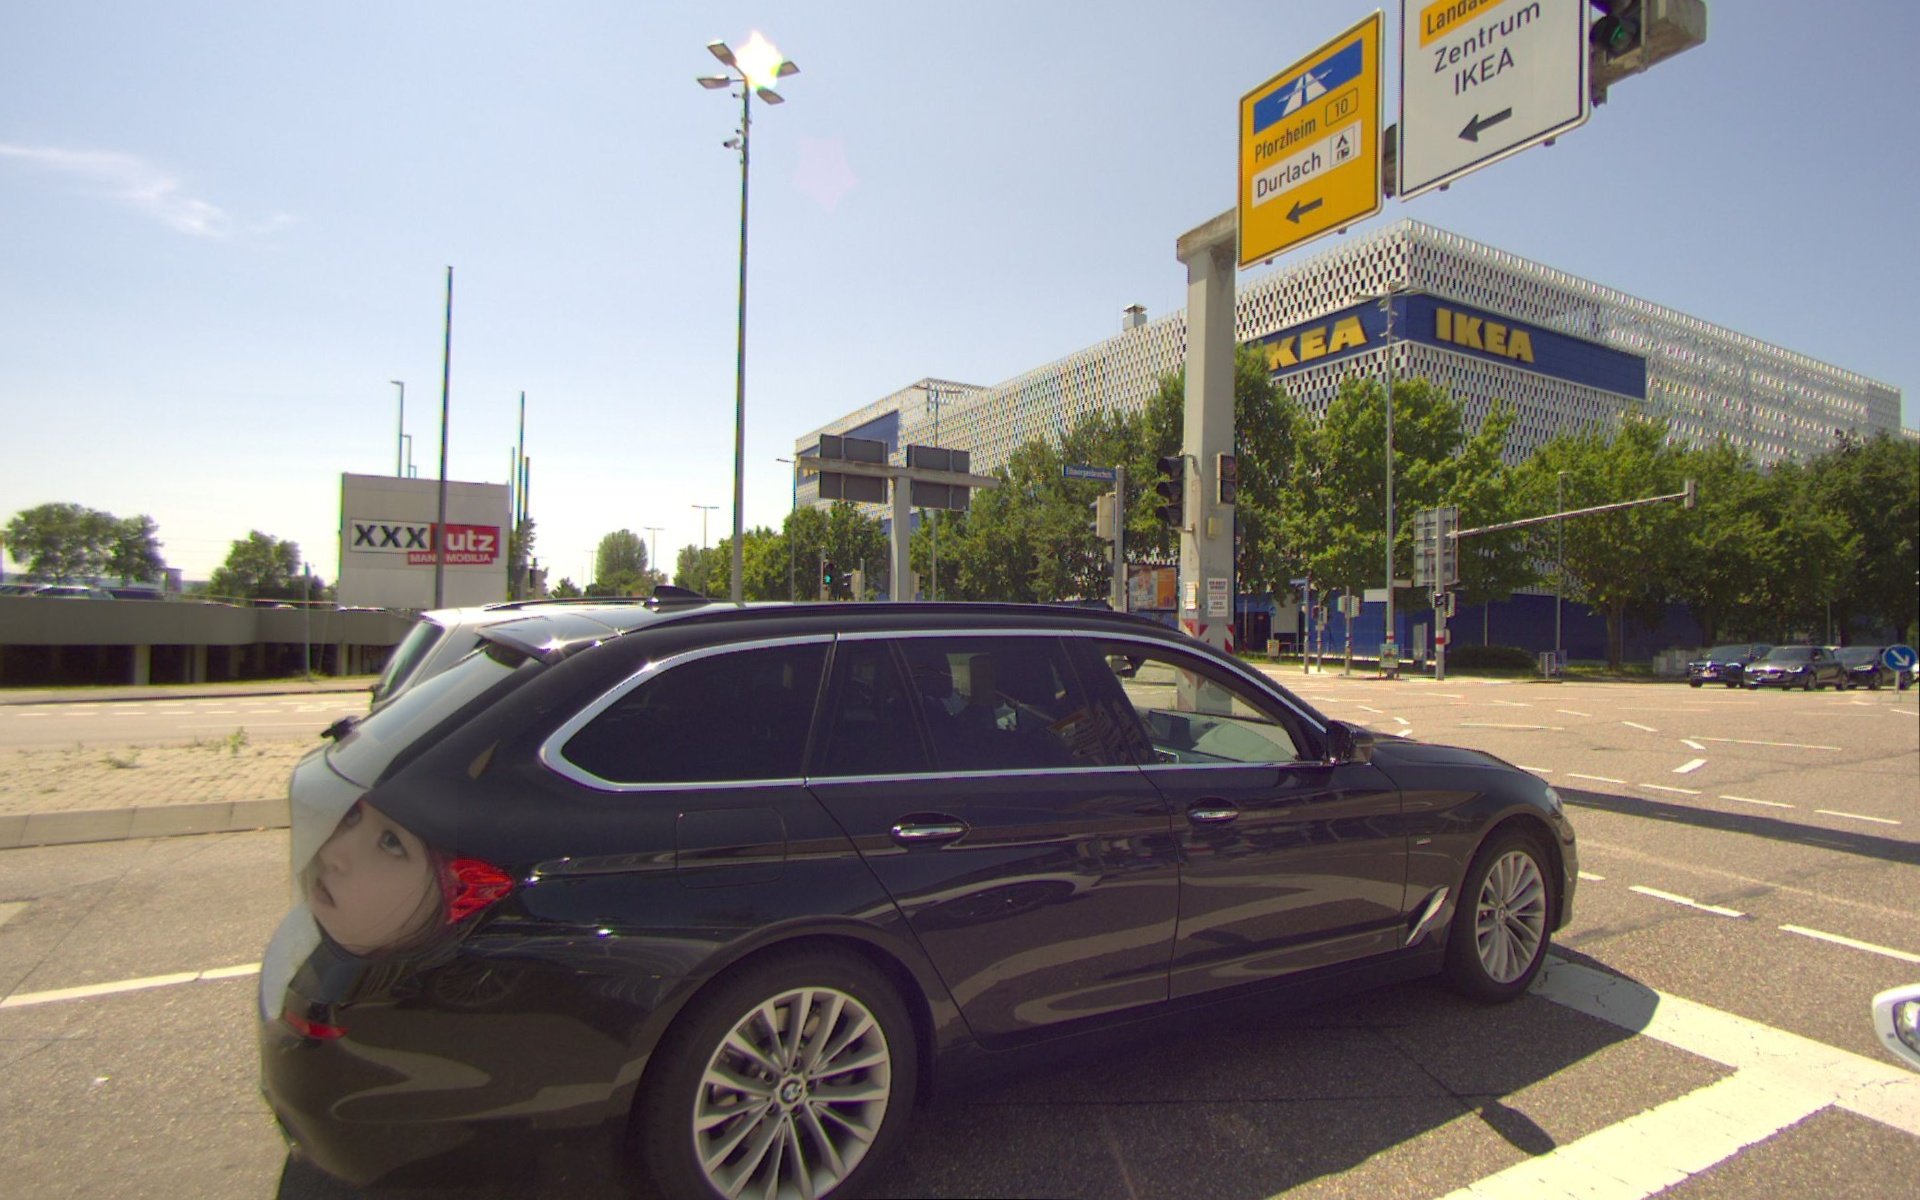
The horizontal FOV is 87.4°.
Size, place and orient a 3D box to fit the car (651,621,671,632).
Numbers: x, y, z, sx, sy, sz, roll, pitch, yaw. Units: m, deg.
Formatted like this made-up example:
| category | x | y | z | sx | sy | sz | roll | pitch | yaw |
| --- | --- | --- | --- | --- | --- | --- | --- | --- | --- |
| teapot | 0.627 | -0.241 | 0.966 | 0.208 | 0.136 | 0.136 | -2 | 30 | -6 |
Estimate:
| category | x | y | z | sx | sy | sz | roll | pitch | yaw |
| --- | --- | --- | --- | --- | --- | --- | --- | --- | --- |
| car | -43.011 | 3.818 | 144.416 | 1.976 | 1.572 | 3.970 | 2 | -2 | -29 |

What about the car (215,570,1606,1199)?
| category | x | y | z | sx | sy | sz | roll | pitch | yaw |
| --- | --- | --- | --- | --- | --- | --- | --- | --- | --- |
| car | 0.224 | 0.748 | 3.636 | 4.505 | 1.459 | 1.788 | 2 | -1 | -31 |

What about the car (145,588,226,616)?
| category | x | y | z | sx | sy | sz | roll | pitch | yaw |
| --- | --- | --- | --- | --- | --- | --- | --- | --- | --- |
| car | -52.784 | 0.143 | 68.514 | 4.086 | 1.764 | 1.770 | 2 | -2 | -30 |

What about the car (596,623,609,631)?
| category | x | y | z | sx | sy | sz | roll | pitch | yaw |
| --- | --- | --- | --- | --- | --- | --- | --- | --- | --- |
| car | -60.574 | 4.554 | 170.265 | 1.608 | 1.368 | 3.472 | 2 | -2 | -29 |

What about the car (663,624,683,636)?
| category | x | y | z | sx | sy | sz | roll | pitch | yaw |
| --- | --- | --- | --- | --- | --- | --- | --- | --- | --- |
| car | -43.463 | 4.577 | 152.058 | 2.031 | 1.769 | 3.860 | 2 | -2 | -29 |

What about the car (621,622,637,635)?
| category | x | y | z | sx | sy | sz | roll | pitch | yaw |
| --- | --- | --- | --- | --- | --- | --- | --- | --- | --- |
| car | -49.237 | 4.225 | 149.252 | 1.609 | 1.938 | 3.471 | 2 | -2 | -30 |

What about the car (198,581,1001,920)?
| category | x | y | z | sx | sy | sz | roll | pitch | yaw |
| --- | --- | --- | --- | --- | --- | --- | --- | --- | --- |
| car | -1.884 | 0.669 | 5.967 | 3.959 | 1.441 | 1.685 | 1 | 0 | -29 |

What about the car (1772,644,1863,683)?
| category | x | y | z | sx | sy | sz | roll | pitch | yaw |
| --- | --- | --- | --- | --- | --- | --- | --- | --- | --- |
| car | 35.647 | 2.646 | 41.741 | 3.870 | 1.564 | 1.718 | 3 | -3 | -31 |

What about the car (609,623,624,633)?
| category | x | y | z | sx | sy | sz | roll | pitch | yaw |
| --- | --- | --- | --- | --- | --- | --- | --- | --- | --- |
| car | -55.365 | 4.550 | 161.765 | 1.608 | 1.629 | 3.471 | 2 | -2 | -29 |

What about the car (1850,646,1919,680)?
| category | x | y | z | sx | sy | sz | roll | pitch | yaw |
| --- | --- | --- | --- | --- | --- | --- | --- | --- | --- |
| car | 42.462 | 2.873 | 45.871 | 3.870 | 1.505 | 1.642 | 3 | -3 | -31 |

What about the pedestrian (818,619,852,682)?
| category | x | y | z | sx | sy | sz | roll | pitch | yaw |
| --- | --- | --- | --- | --- | --- | --- | --- | --- | --- |
| pedestrian | -3.639 | 1.457 | 29.195 | 0.816 | 1.807 | 0.601 | 2 | -2 | -27 |

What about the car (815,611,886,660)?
| category | x | y | z | sx | sy | sz | roll | pitch | yaw |
| --- | --- | --- | --- | --- | --- | --- | --- | --- | --- |
| car | -5.365 | 1.704 | 48.647 | 1.973 | 2.212 | 5.019 | 1 | -2 | -25 |

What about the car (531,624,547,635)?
| category | x | y | z | sx | sy | sz | roll | pitch | yaw |
| --- | --- | --- | --- | --- | --- | --- | --- | --- | --- |
| car | -60.117 | 4.153 | 143.401 | 1.836 | 1.528 | 3.971 | 2 | -2 | -28 |

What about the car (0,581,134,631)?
| category | x | y | z | sx | sy | sz | roll | pitch | yaw |
| --- | --- | --- | --- | --- | --- | --- | --- | --- | --- |
| car | -39.336 | 0.296 | 44.230 | 4.284 | 2.040 | 1.982 | 2 | -2 | -34 |

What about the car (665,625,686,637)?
| category | x | y | z | sx | sy | sz | roll | pitch | yaw |
| --- | --- | --- | --- | --- | --- | --- | --- | --- | --- |
| car | -38.891 | 4.278 | 137.437 | 1.975 | 1.572 | 3.972 | 2 | -2 | -27 |

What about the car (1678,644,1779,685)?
| category | x | y | z | sx | sy | sz | roll | pitch | yaw |
| --- | --- | --- | --- | --- | --- | --- | --- | --- | --- |
| car | 28.690 | 2.419 | 37.480 | 3.992 | 1.442 | 1.653 | 3 | -3 | -31 |

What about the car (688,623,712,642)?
| category | x | y | z | sx | sy | sz | roll | pitch | yaw |
| --- | --- | --- | --- | --- | --- | --- | --- | --- | --- |
| car | -28.246 | 3.511 | 109.120 | 1.750 | 2.040 | 3.813 | 1 | -2 | -26 |

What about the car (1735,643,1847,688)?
| category | x | y | z | sx | sy | sz | roll | pitch | yaw |
| --- | --- | --- | --- | --- | --- | --- | --- | --- | --- |
| car | 27.243 | 2.168 | 32.919 | 3.671 | 1.407 | 1.637 | 3 | -4 | -30 |

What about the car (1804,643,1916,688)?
| category | x | y | z | sx | sy | sz | roll | pitch | yaw |
| --- | --- | --- | --- | --- | --- | --- | --- | --- | --- |
| car | 32.416 | 2.368 | 36.156 | 4.193 | 1.524 | 1.719 | 3 | -4 | -30 |

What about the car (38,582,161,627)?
| category | x | y | z | sx | sy | sz | roll | pitch | yaw |
| --- | --- | --- | --- | --- | --- | --- | --- | --- | --- |
| car | -42.034 | 0.271 | 49.232 | 4.285 | 2.040 | 1.981 | 2 | -2 | -34 |

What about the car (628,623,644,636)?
| category | x | y | z | sx | sy | sz | roll | pitch | yaw |
| --- | --- | --- | --- | --- | --- | --- | --- | --- | --- |
| car | -46.329 | 4.254 | 143.600 | 1.607 | 1.835 | 3.474 | 1 | -2 | -27 |

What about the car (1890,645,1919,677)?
| category | x | y | z | sx | sy | sz | roll | pitch | yaw |
| --- | --- | --- | --- | --- | --- | --- | --- | --- | --- |
| car | 47.343 | 3.014 | 49.053 | 3.954 | 1.505 | 1.735 | 3 | -3 | -31 |

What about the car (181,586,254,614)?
| category | x | y | z | sx | sy | sz | roll | pitch | yaw |
| --- | --- | --- | --- | --- | --- | --- | --- | --- | --- |
| car | -58.346 | 0.032 | 79.016 | 4.278 | 2.040 | 1.985 | 2 | -2 | -30 |
